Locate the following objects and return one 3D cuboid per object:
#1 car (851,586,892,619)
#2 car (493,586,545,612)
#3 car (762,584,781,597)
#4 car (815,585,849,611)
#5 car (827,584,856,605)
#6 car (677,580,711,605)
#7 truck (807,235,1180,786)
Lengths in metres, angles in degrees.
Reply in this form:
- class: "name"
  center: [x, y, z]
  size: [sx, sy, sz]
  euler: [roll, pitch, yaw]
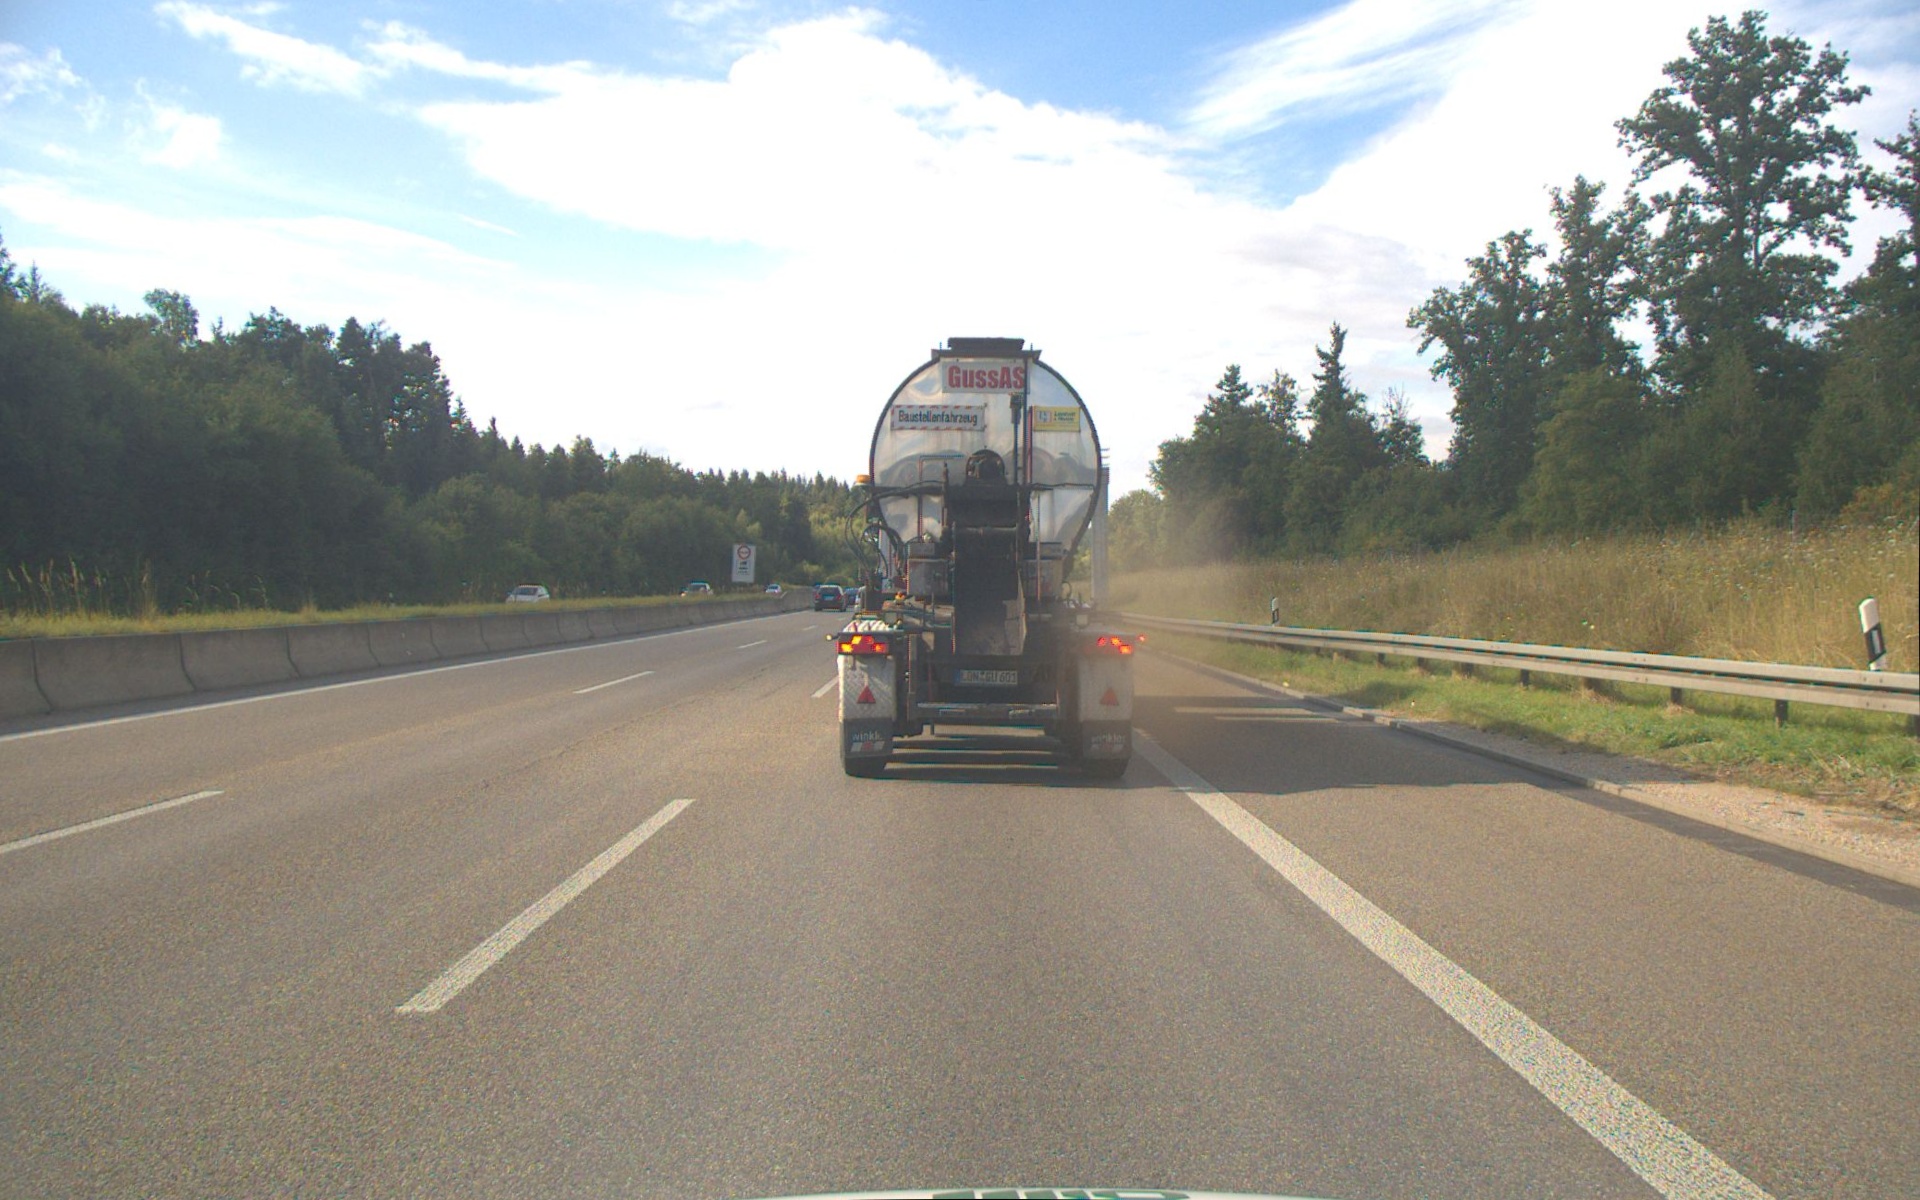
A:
- class: "car"
  center: [-4.314, 0.111, 81.258]
  size: [1.798, 1.544, 4.333]
  euler: [0, 0, -1]
- class: "car"
  center: [-22.945, -0.065, 86.123]
  size: [1.779, 1.313, 3.544]
  euler: [0, 0, 0]
- class: "car"
  center: [-23.108, -1.137, 202.859]
  size: [1.910, 1.566, 4.326]
  euler: [0, 0, 0]
- class: "car"
  center: [-7.900, -0.141, 102.646]
  size: [1.798, 1.544, 4.333]
  euler: [0, 0, -1]
- class: "car"
  center: [-8.763, -0.404, 122.585]
  size: [1.818, 1.456, 4.840]
  euler: [0, 0, 0]
- class: "car"
  center: [-19.152, -0.570, 119.235]
  size: [1.867, 1.747, 4.000]
  euler: [0, 0, 0]
- class: "truck"
  center: [0.235, -0.727, 18.401]
  size: [2.853, 4.230, 11.269]
  euler: [0, 0, 0]
